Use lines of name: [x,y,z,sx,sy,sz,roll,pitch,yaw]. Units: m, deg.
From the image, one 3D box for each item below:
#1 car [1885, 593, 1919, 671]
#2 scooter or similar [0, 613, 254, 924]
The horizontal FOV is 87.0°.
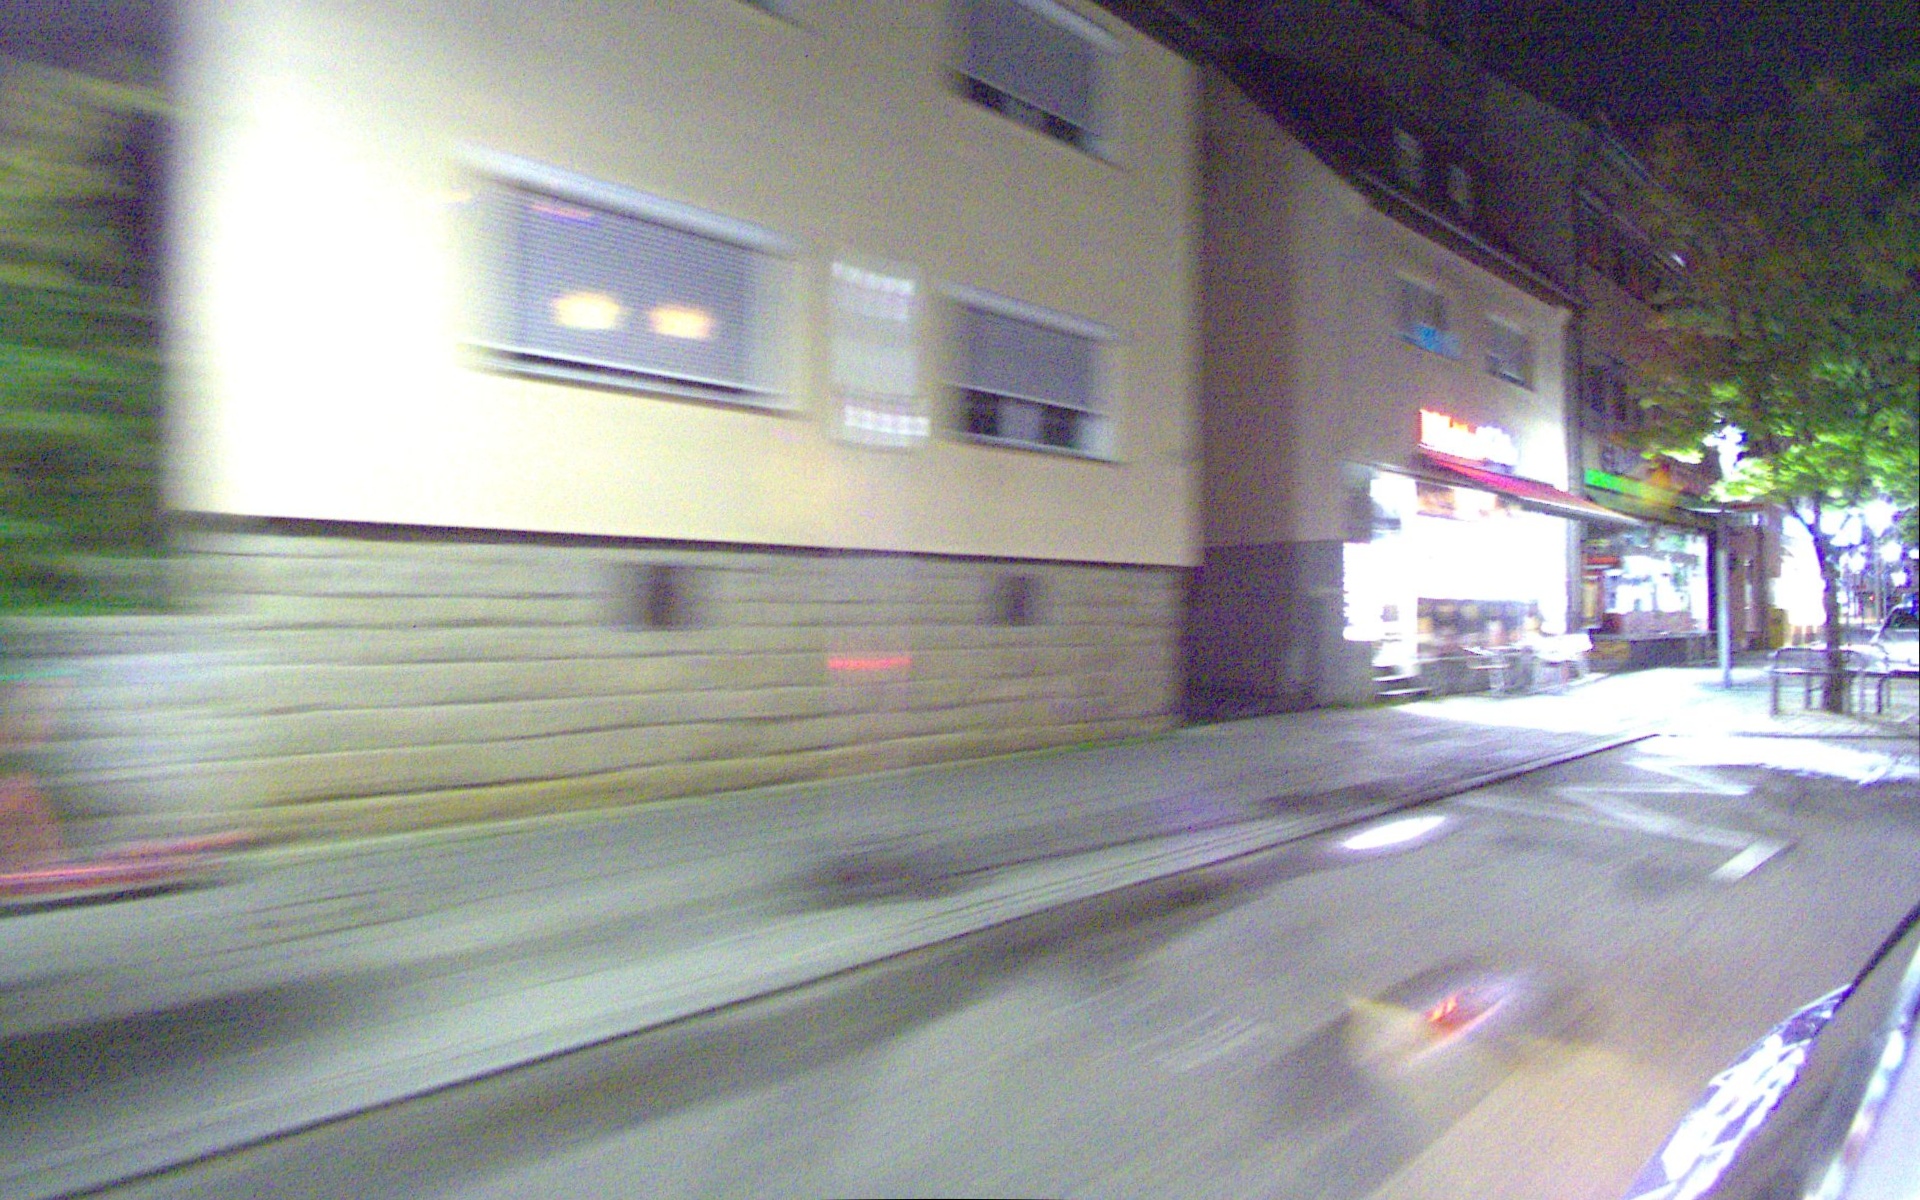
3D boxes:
car: [19.854,0.614,20.343,1.734,1.459,4.424,0,0,44]
scooter or similar: [-4.018,0.725,4.609,1.282,1.292,0.374,-1,1,-40]
